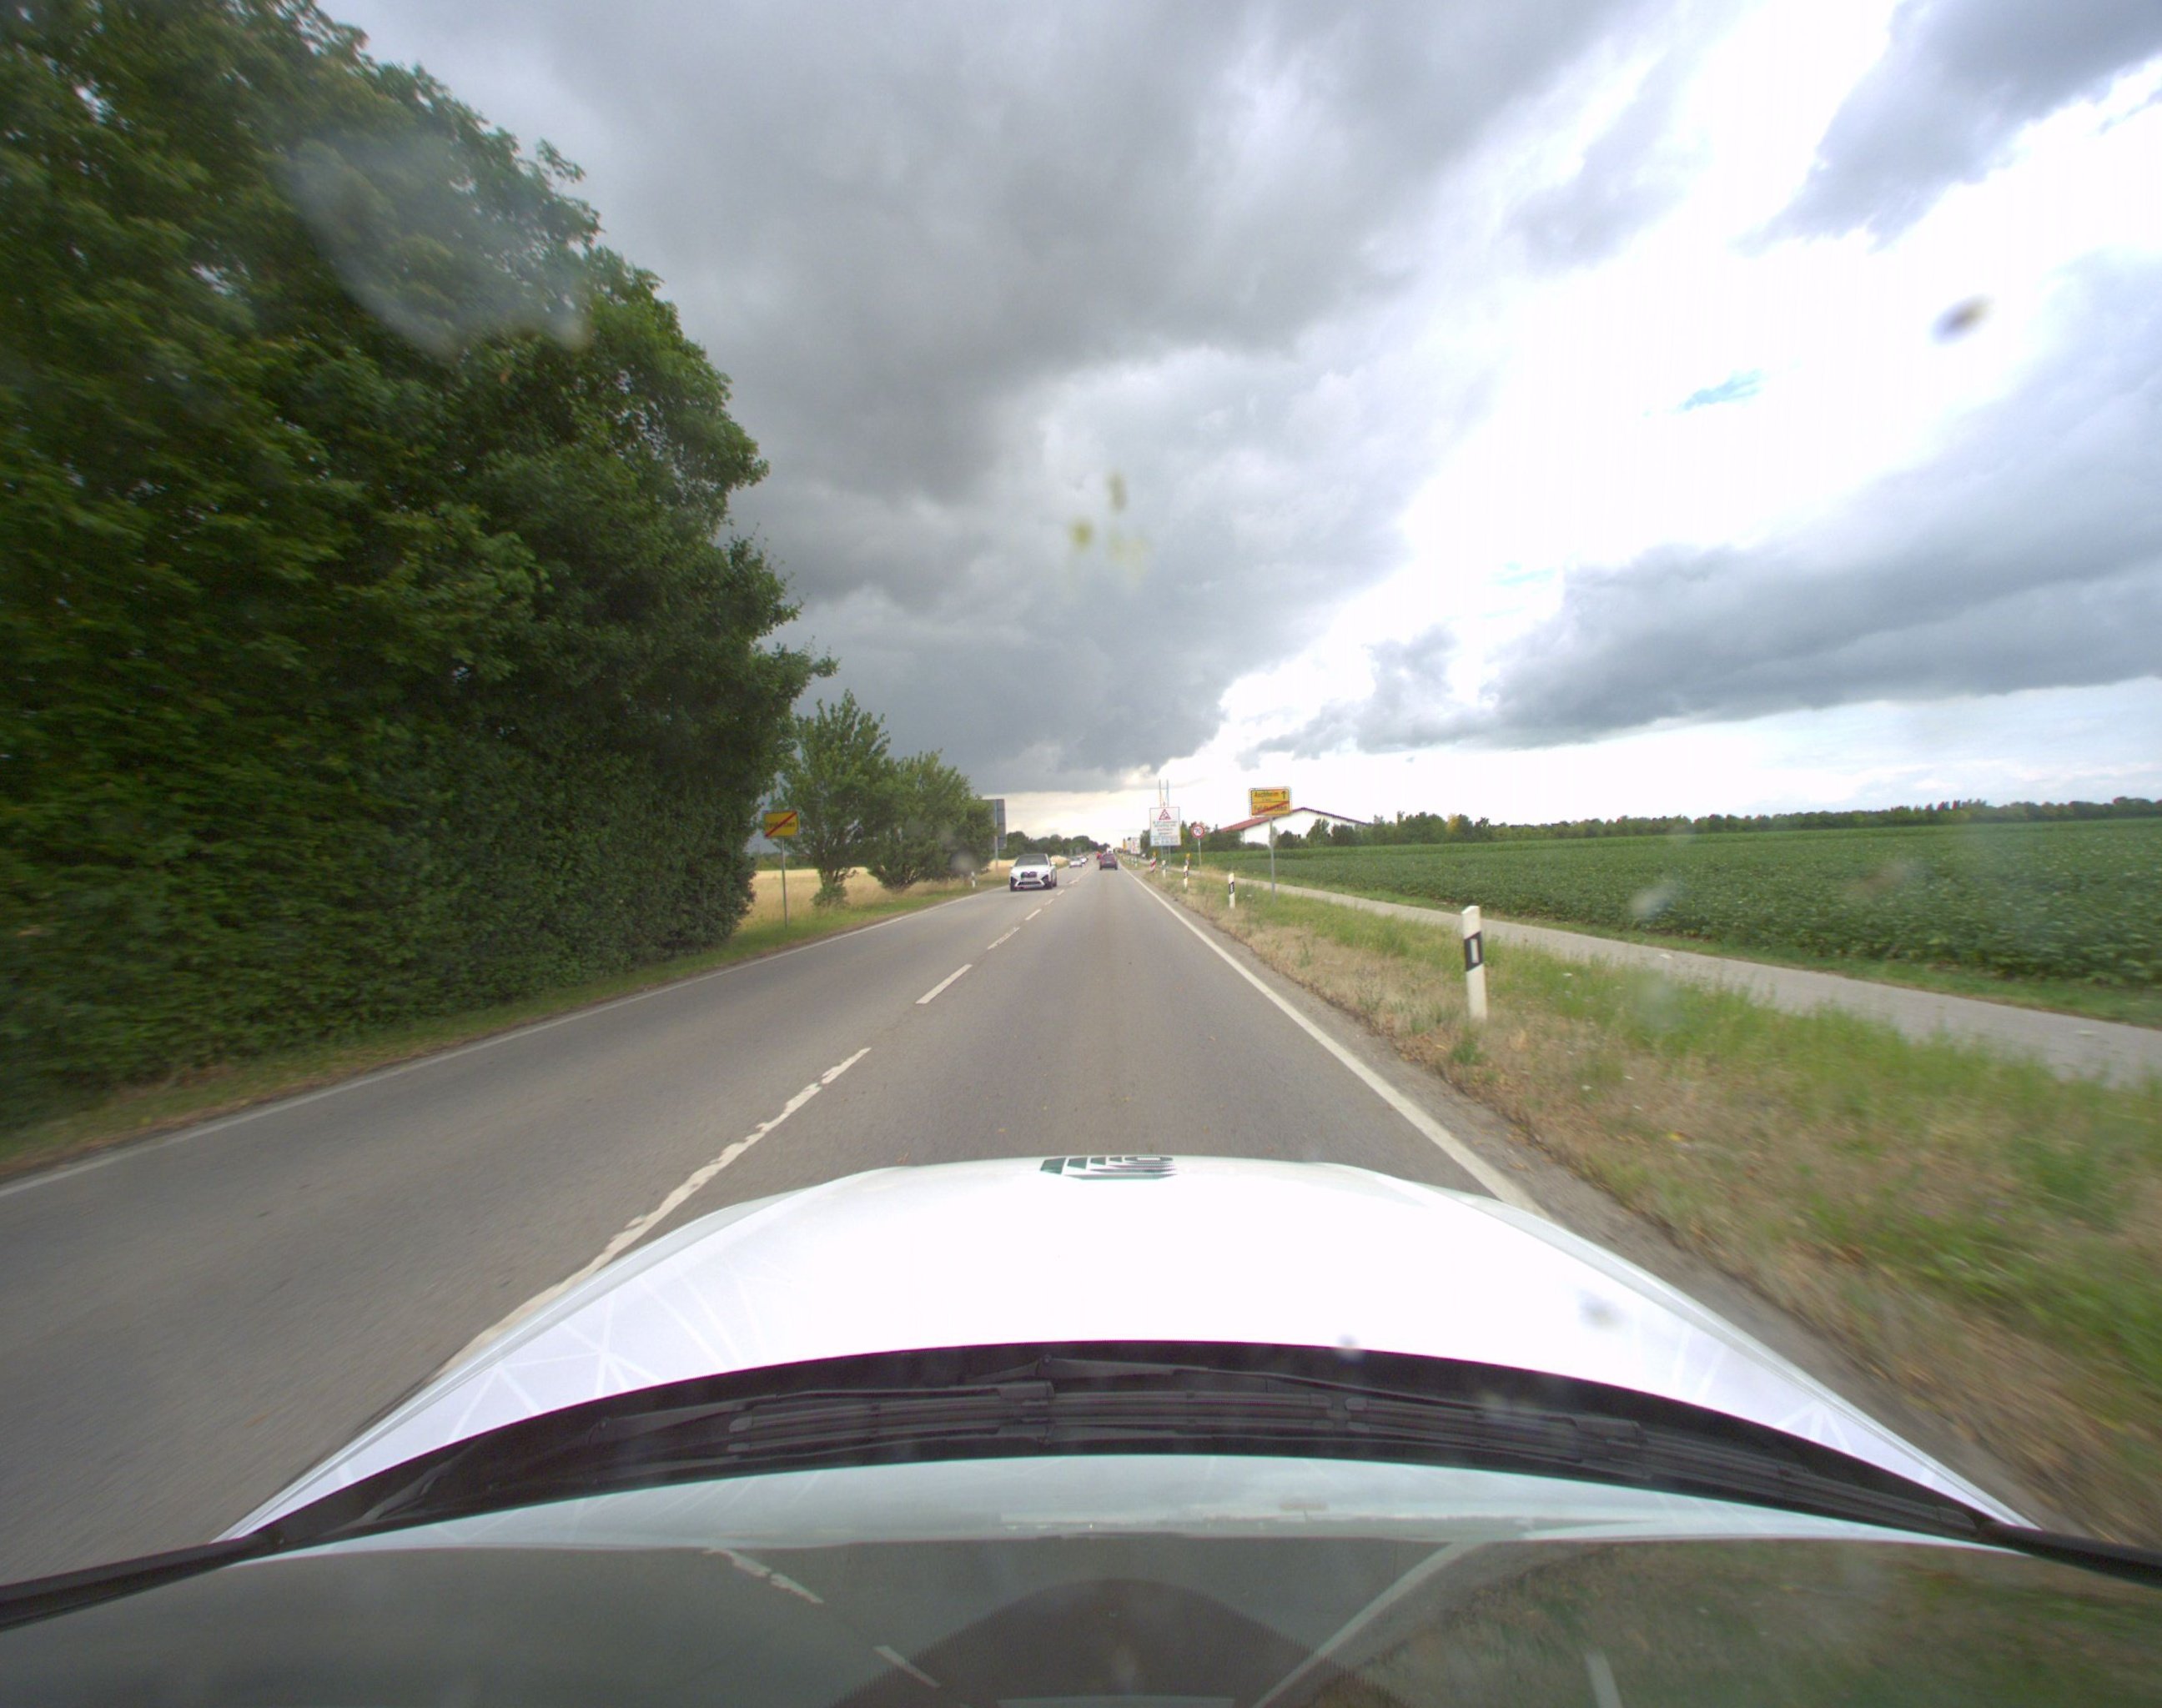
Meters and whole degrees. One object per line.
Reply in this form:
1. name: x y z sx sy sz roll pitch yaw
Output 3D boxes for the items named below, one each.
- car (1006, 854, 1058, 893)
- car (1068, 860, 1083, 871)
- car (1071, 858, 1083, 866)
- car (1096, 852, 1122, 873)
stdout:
1. car: -2.257 0.890 38.995 1.986 1.684 4.811 -3 0 2
2. car: -0.699 1.489 109.111 1.722 1.363 3.951 -2 0 2
3. car: -0.695 1.413 146.751 1.799 1.456 4.115 -2 0 2
4. car: 2.843 0.883 82.512 2.365 1.880 4.476 -4 -1 -1
